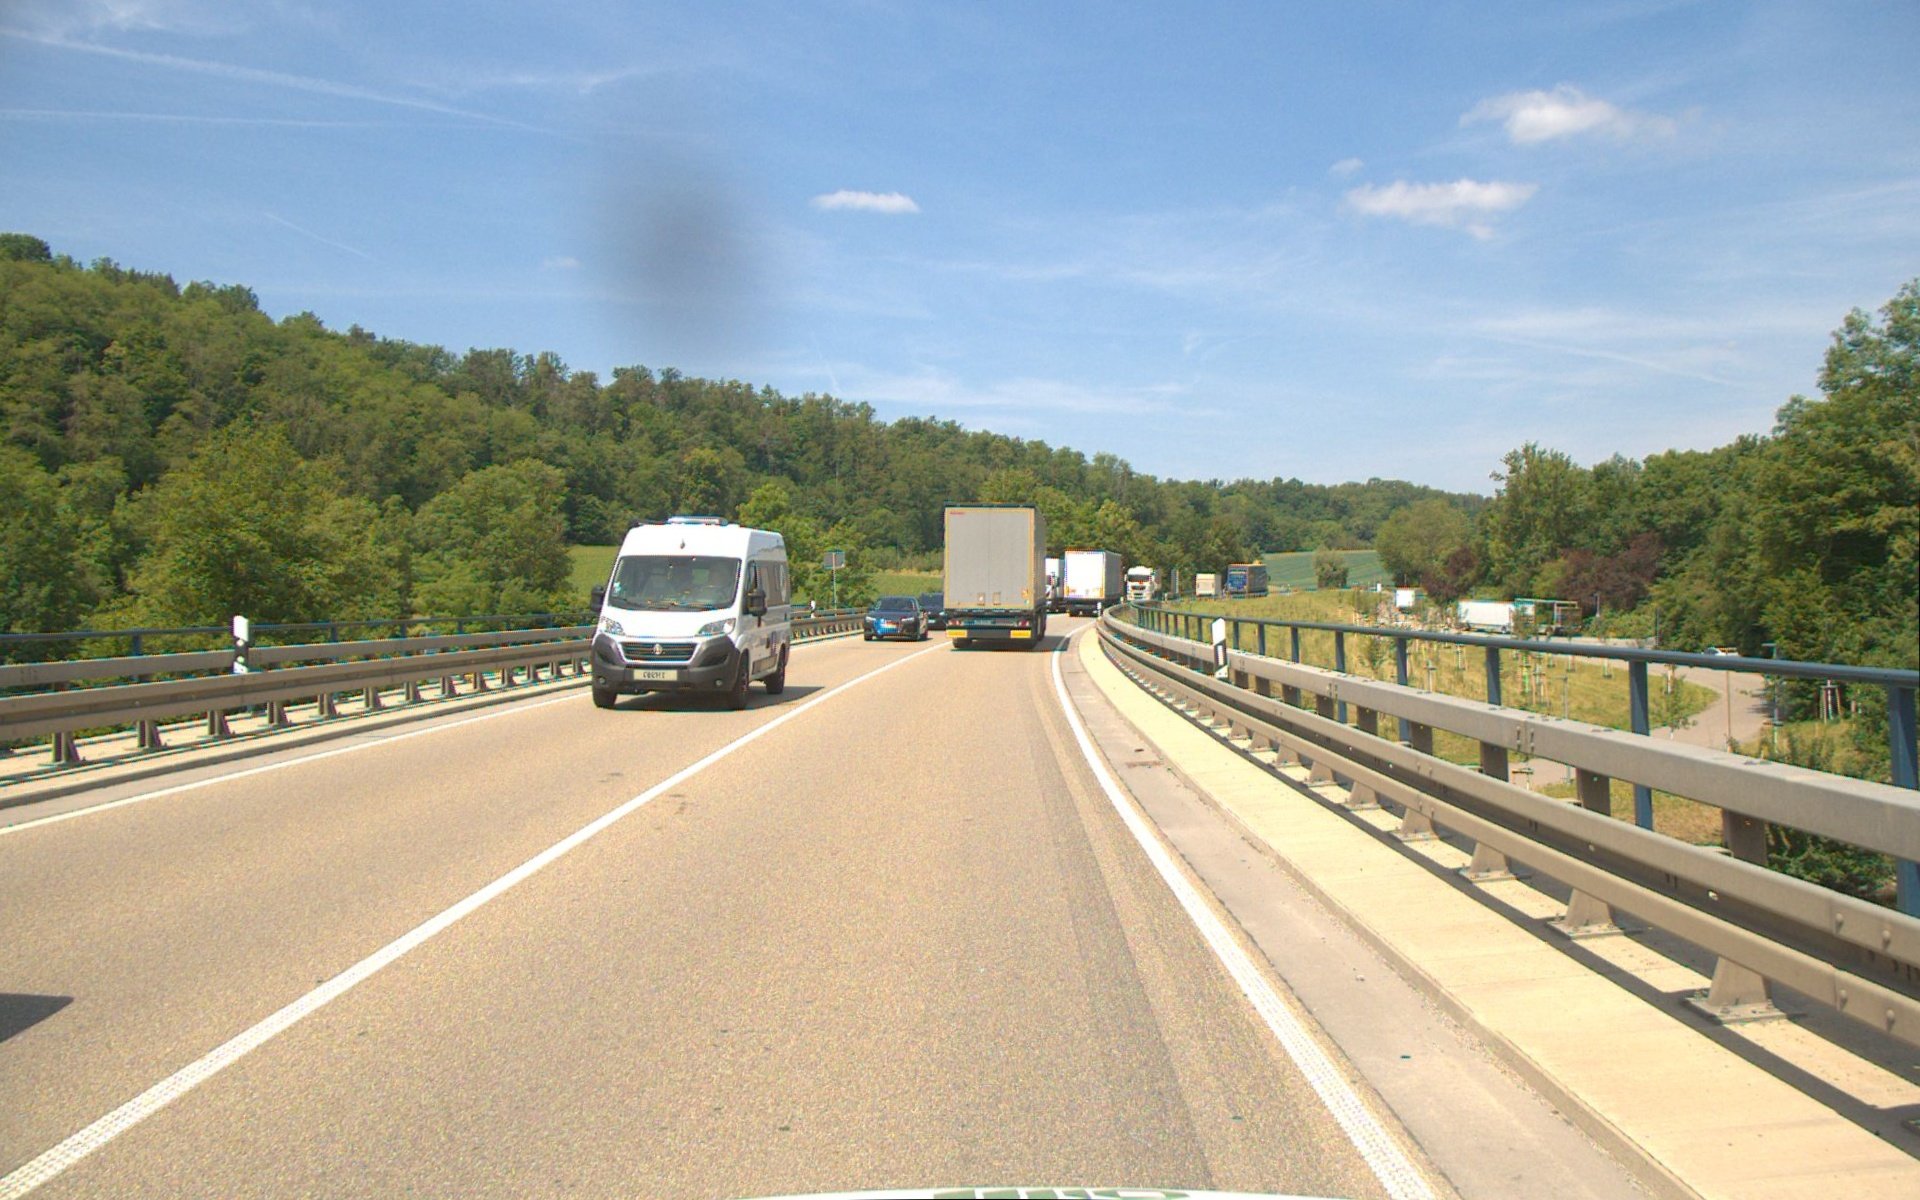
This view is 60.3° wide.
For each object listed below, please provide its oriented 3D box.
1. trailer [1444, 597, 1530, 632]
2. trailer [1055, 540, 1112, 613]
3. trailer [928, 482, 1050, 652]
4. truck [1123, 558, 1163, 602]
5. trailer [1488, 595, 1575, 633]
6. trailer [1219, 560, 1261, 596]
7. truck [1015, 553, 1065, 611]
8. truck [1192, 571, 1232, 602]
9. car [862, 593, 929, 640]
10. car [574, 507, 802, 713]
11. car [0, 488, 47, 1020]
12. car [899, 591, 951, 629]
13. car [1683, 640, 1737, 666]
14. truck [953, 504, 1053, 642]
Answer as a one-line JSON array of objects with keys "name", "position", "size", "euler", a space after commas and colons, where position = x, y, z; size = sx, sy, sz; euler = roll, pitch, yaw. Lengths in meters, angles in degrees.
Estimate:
[{"name": "trailer", "position": [55.845, 1.440, 175.759], "size": [2.674, 3.386, 11.846], "euler": [0, 1, -15]}, {"name": "trailer", "position": [8.124, -1.405, 107.043], "size": [3.294, 4.392, 13.873], "euler": [0, 0, 6]}, {"name": "trailer", "position": [1.153, -0.905, 51.745], "size": [3.053, 4.578, 13.893], "euler": [0, 0, 4]}, {"name": "truck", "position": [18.682, -1.971, 168.505], "size": [2.995, 4.337, 9.876], "euler": [0, 0, 12]}, {"name": "trailer", "position": [59.636, 1.387, 172.976], "size": [2.672, 3.669, 11.855], "euler": [1, 1, -13]}, {"name": "trailer", "position": [35.474, -2.689, 209.148], "size": [3.571, 4.337, 12.201], "euler": [0, 0, 17]}, {"name": "truck", "position": [5.689, -1.257, 115.971], "size": [2.852, 3.870, 9.716], "euler": [0, 1, 6]}, {"name": "truck", "position": [28.649, -1.485, 187.642], "size": [3.154, 3.424, 11.883], "euler": [0, 0, 15]}, {"name": "car", "position": [-2.096, 0.510, 54.878], "size": [1.684, 1.460, 4.620], "euler": [1, 0, 4]}, {"name": "car", "position": [-3.745, 0.116, 23.977], "size": [2.134, 2.604, 5.798], "euler": [1, 0, 2]}, {"name": "car", "position": [-4.224, 0.523, 3.456], "size": [1.814, 1.830, 4.977], "euler": [1, 0, 0]}, {"name": "car", "position": [-1.444, 0.406, 69.751], "size": [1.684, 1.508, 4.572], "euler": [1, 0, 5]}, {"name": "car", "position": [51.835, 3.643, 114.339], "size": [1.819, 1.508, 4.610], "euler": [-3, 1, 4]}, {"name": "truck", "position": [1.611, -0.910, 58.176], "size": [3.052, 4.573, 6.815], "euler": [0, 0, 5]}]
